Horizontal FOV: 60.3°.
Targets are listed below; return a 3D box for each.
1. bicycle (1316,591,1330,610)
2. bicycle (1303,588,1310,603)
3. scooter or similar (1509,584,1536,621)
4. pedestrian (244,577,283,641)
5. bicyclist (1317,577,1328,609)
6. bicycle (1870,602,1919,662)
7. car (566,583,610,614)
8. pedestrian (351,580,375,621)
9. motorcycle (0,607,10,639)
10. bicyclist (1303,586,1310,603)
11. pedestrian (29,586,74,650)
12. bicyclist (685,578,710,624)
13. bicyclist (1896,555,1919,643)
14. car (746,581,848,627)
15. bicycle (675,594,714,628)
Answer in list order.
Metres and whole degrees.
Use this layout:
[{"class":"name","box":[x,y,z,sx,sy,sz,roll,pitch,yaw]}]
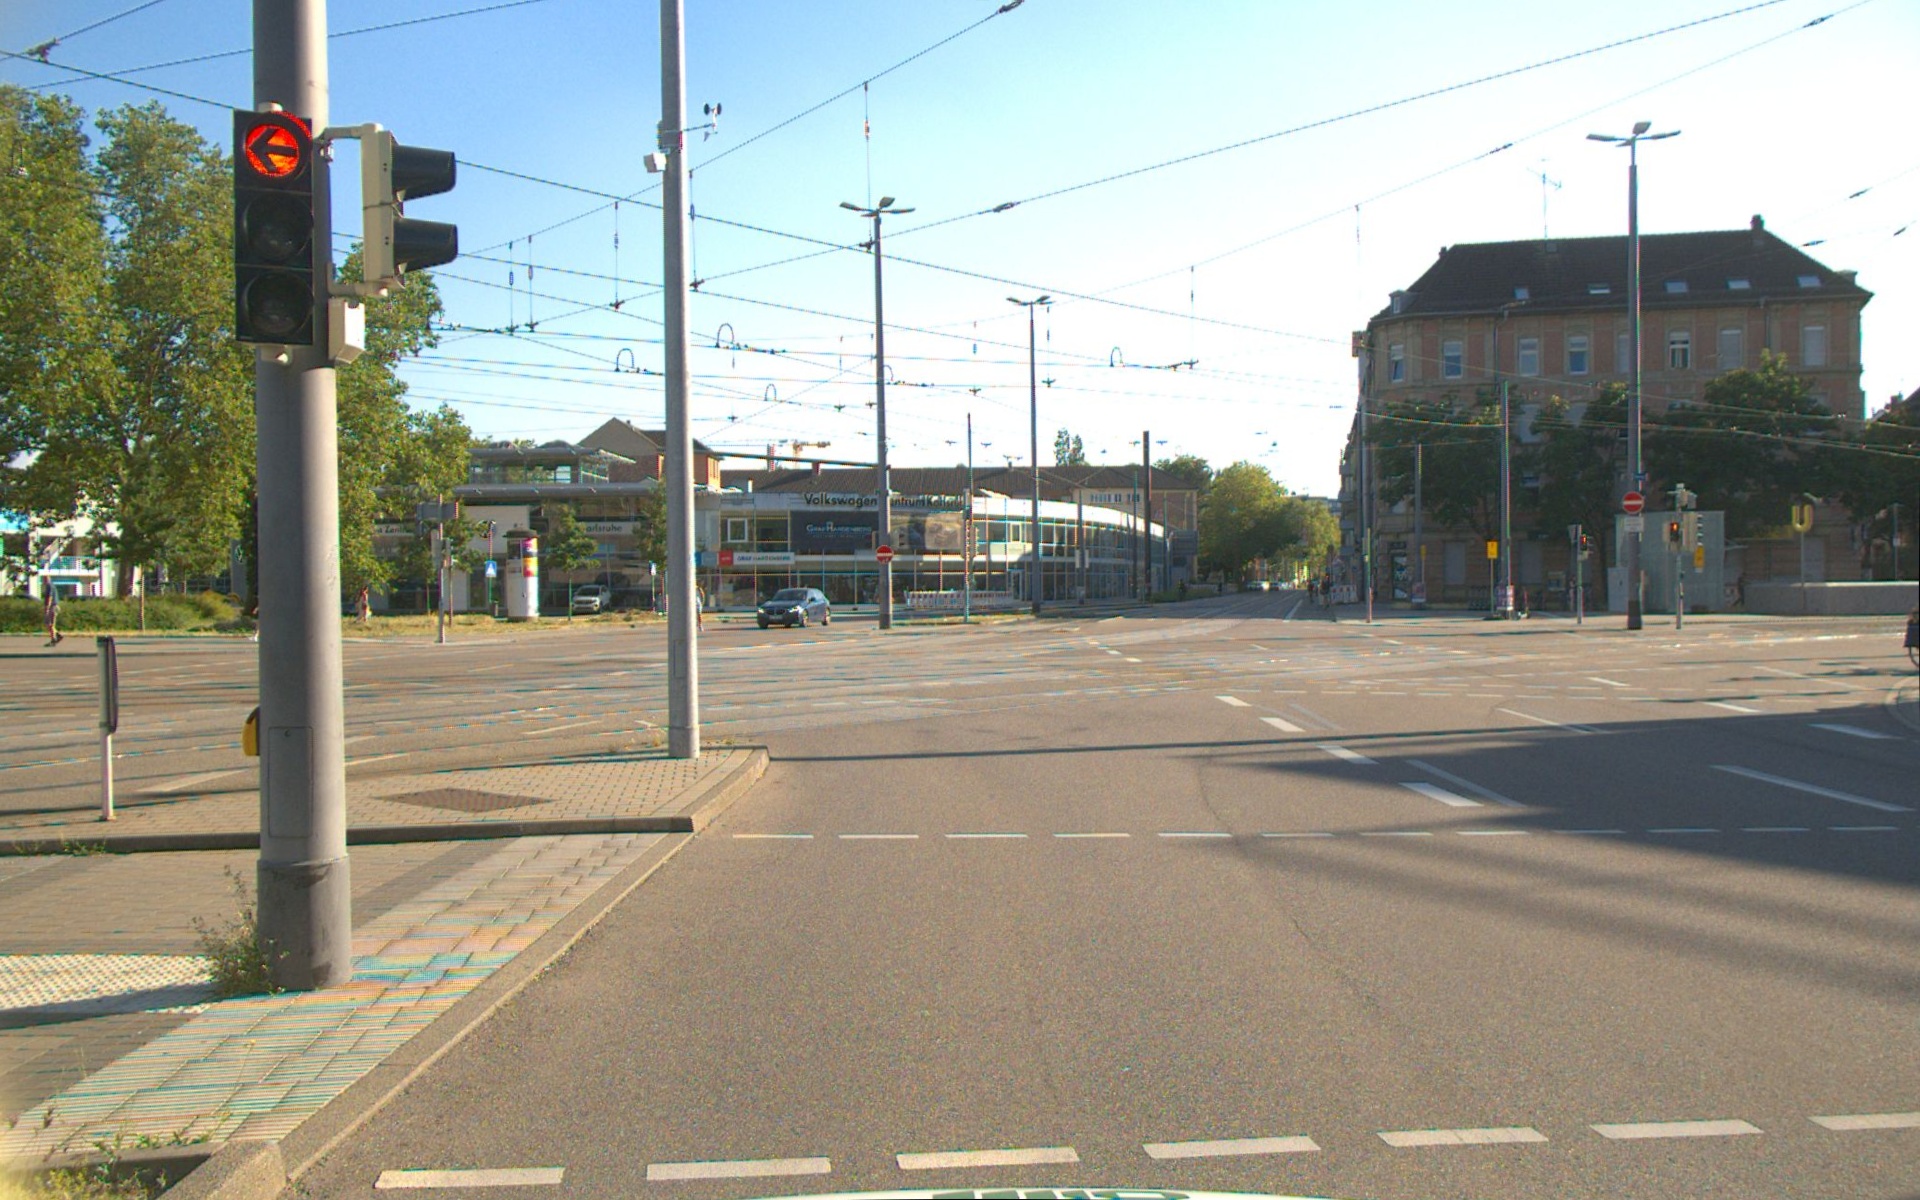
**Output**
[{"class":"bicycle","box":[19.484,0.035,88.822,0.643,0.969,1.601,1,0,14]},{"class":"bicycle","box":[22.585,-0.283,107.860,0.401,0.958,1.847,1,0,12]},{"class":"scooter or similar","box":[21.595,0.100,63.512,0.769,1.400,1.910,1,0,13]},{"class":"pedestrian","box":[-21.027,0.272,49.974,0.777,1.919,0.759,1,-1,6]},{"class":"bicyclist","box":[19.499,-0.366,88.970,0.508,1.730,0.516,1,-1,2]},{"class":"bicycle","box":[17.675,0.602,30.209,0.524,1.067,2.316,1,1,-9]},{"class":"car","box":[-22.221,-0.059,98.954,1.954,1.780,3.997,1,0,-4]},{"class":"pedestrian","box":[-25.924,0.020,71.854,0.839,1.723,0.496,1,-1,-3]},{"class":"motorcycle","box":[-28.929,0.669,48.505,1.748,0.930,0.675,1,0,-21]},{"class":"bicyclist","box":[22.541,-0.364,107.590,0.399,1.136,0.399,1,-1,11]},{"class":"pedestrian","box":[-25.137,0.488,45.772,0.777,1.736,0.759,1,-1,6]},{"class":"bicyclist","box":[-9.466,0.046,59.673,0.585,1.644,0.823,1,-1,17]},{"class":"bicyclist","box":[17.680,-0.014,30.248,0.505,1.584,0.945,1,0,-9]},{"class":"car","box":[-6.032,0.165,61.658,1.954,1.613,3.996,1,0,26]},{"class":"bicycle","box":[-9.528,0.394,59.470,0.599,1.210,1.870,1,0,17]}]
